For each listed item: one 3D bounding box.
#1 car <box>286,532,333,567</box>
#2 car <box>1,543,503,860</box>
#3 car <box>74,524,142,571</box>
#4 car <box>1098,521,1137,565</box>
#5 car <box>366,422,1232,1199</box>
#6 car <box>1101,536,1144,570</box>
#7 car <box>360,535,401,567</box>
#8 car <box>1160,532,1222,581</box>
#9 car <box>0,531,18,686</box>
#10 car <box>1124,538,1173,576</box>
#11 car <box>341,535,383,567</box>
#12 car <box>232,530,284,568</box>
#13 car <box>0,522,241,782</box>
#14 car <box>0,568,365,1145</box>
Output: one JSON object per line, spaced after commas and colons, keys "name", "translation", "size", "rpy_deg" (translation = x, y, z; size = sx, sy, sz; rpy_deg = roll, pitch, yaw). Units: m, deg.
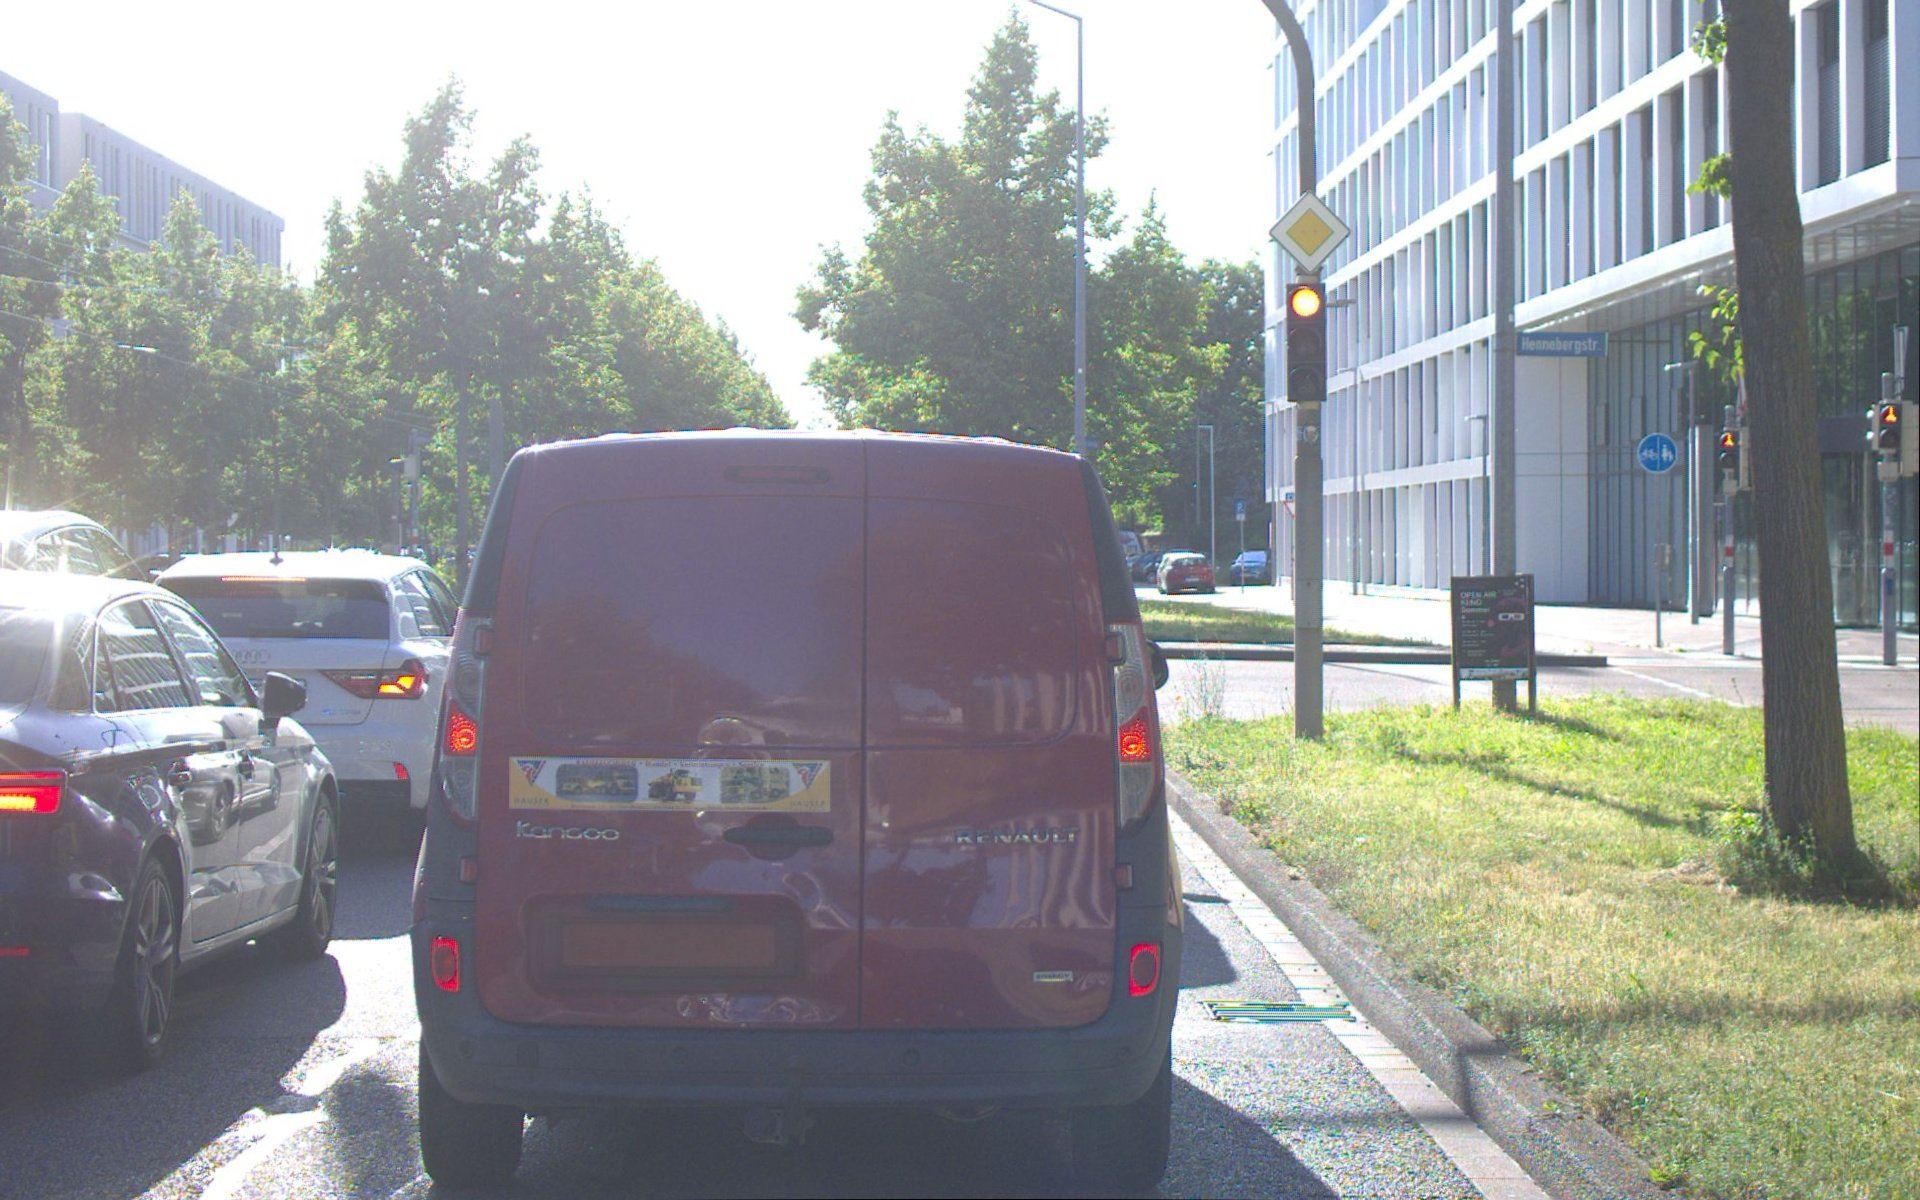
{"name": "car", "translation": [-37.678, -2.915, 199.235], "size": [1.993, 2.007, 4.000], "rpy_deg": [0, 1, -1]}
{"name": "car", "translation": [-3.472, 0.431, 17.557], "size": [1.803, 1.421, 3.901], "rpy_deg": [0, 1, -1]}
{"name": "car", "translation": [-36.978, -2.296, 149.334], "size": [1.993, 2.007, 4.000], "rpy_deg": [0, 1, -1]}
{"name": "car", "translation": [9.071, -3.296, 198.337], "size": [1.993, 2.488, 4.987], "rpy_deg": [0, 1, -1]}
{"name": "car", "translation": [-0.369, 0.471, 9.335], "size": [1.842, 1.774, 4.000], "rpy_deg": [0, 1, -1]}
{"name": "car", "translation": [8.486, -2.460, 179.828], "size": [1.993, 1.776, 4.000], "rpy_deg": [0, 1, -1]}
{"name": "car", "translation": [-37.549, -3.190, 222.877], "size": [1.993, 2.007, 4.000], "rpy_deg": [0, 1, -1]}
{"name": "car", "translation": [8.579, -1.642, 127.972], "size": [1.993, 1.776, 4.000], "rpy_deg": [0, 1, -1]}
{"name": "car", "translation": [-11.096, -0.047, 34.341], "size": [1.799, 1.478, 4.568], "rpy_deg": [3, 1, -34]}
{"name": "car", "translation": [8.785, -2.022, 160.630], "size": [1.993, 1.776, 4.000], "rpy_deg": [0, 1, -1]}
{"name": "car", "translation": [-37.759, -3.131, 217.253], "size": [1.993, 2.007, 4.000], "rpy_deg": [0, 1, -1]}
{"name": "car", "translation": [-37.227, -2.698, 182.421], "size": [1.993, 2.007, 4.000], "rpy_deg": [0, 1, -1]}
{"name": "car", "translation": [-6.106, 0.246, 22.171], "size": [1.799, 1.442, 4.568], "rpy_deg": [2, 1, 2]}
{"name": "car", "translation": [-3.161, 0.633, 10.914], "size": [1.842, 1.421, 4.339], "rpy_deg": [0, 1, -1]}
